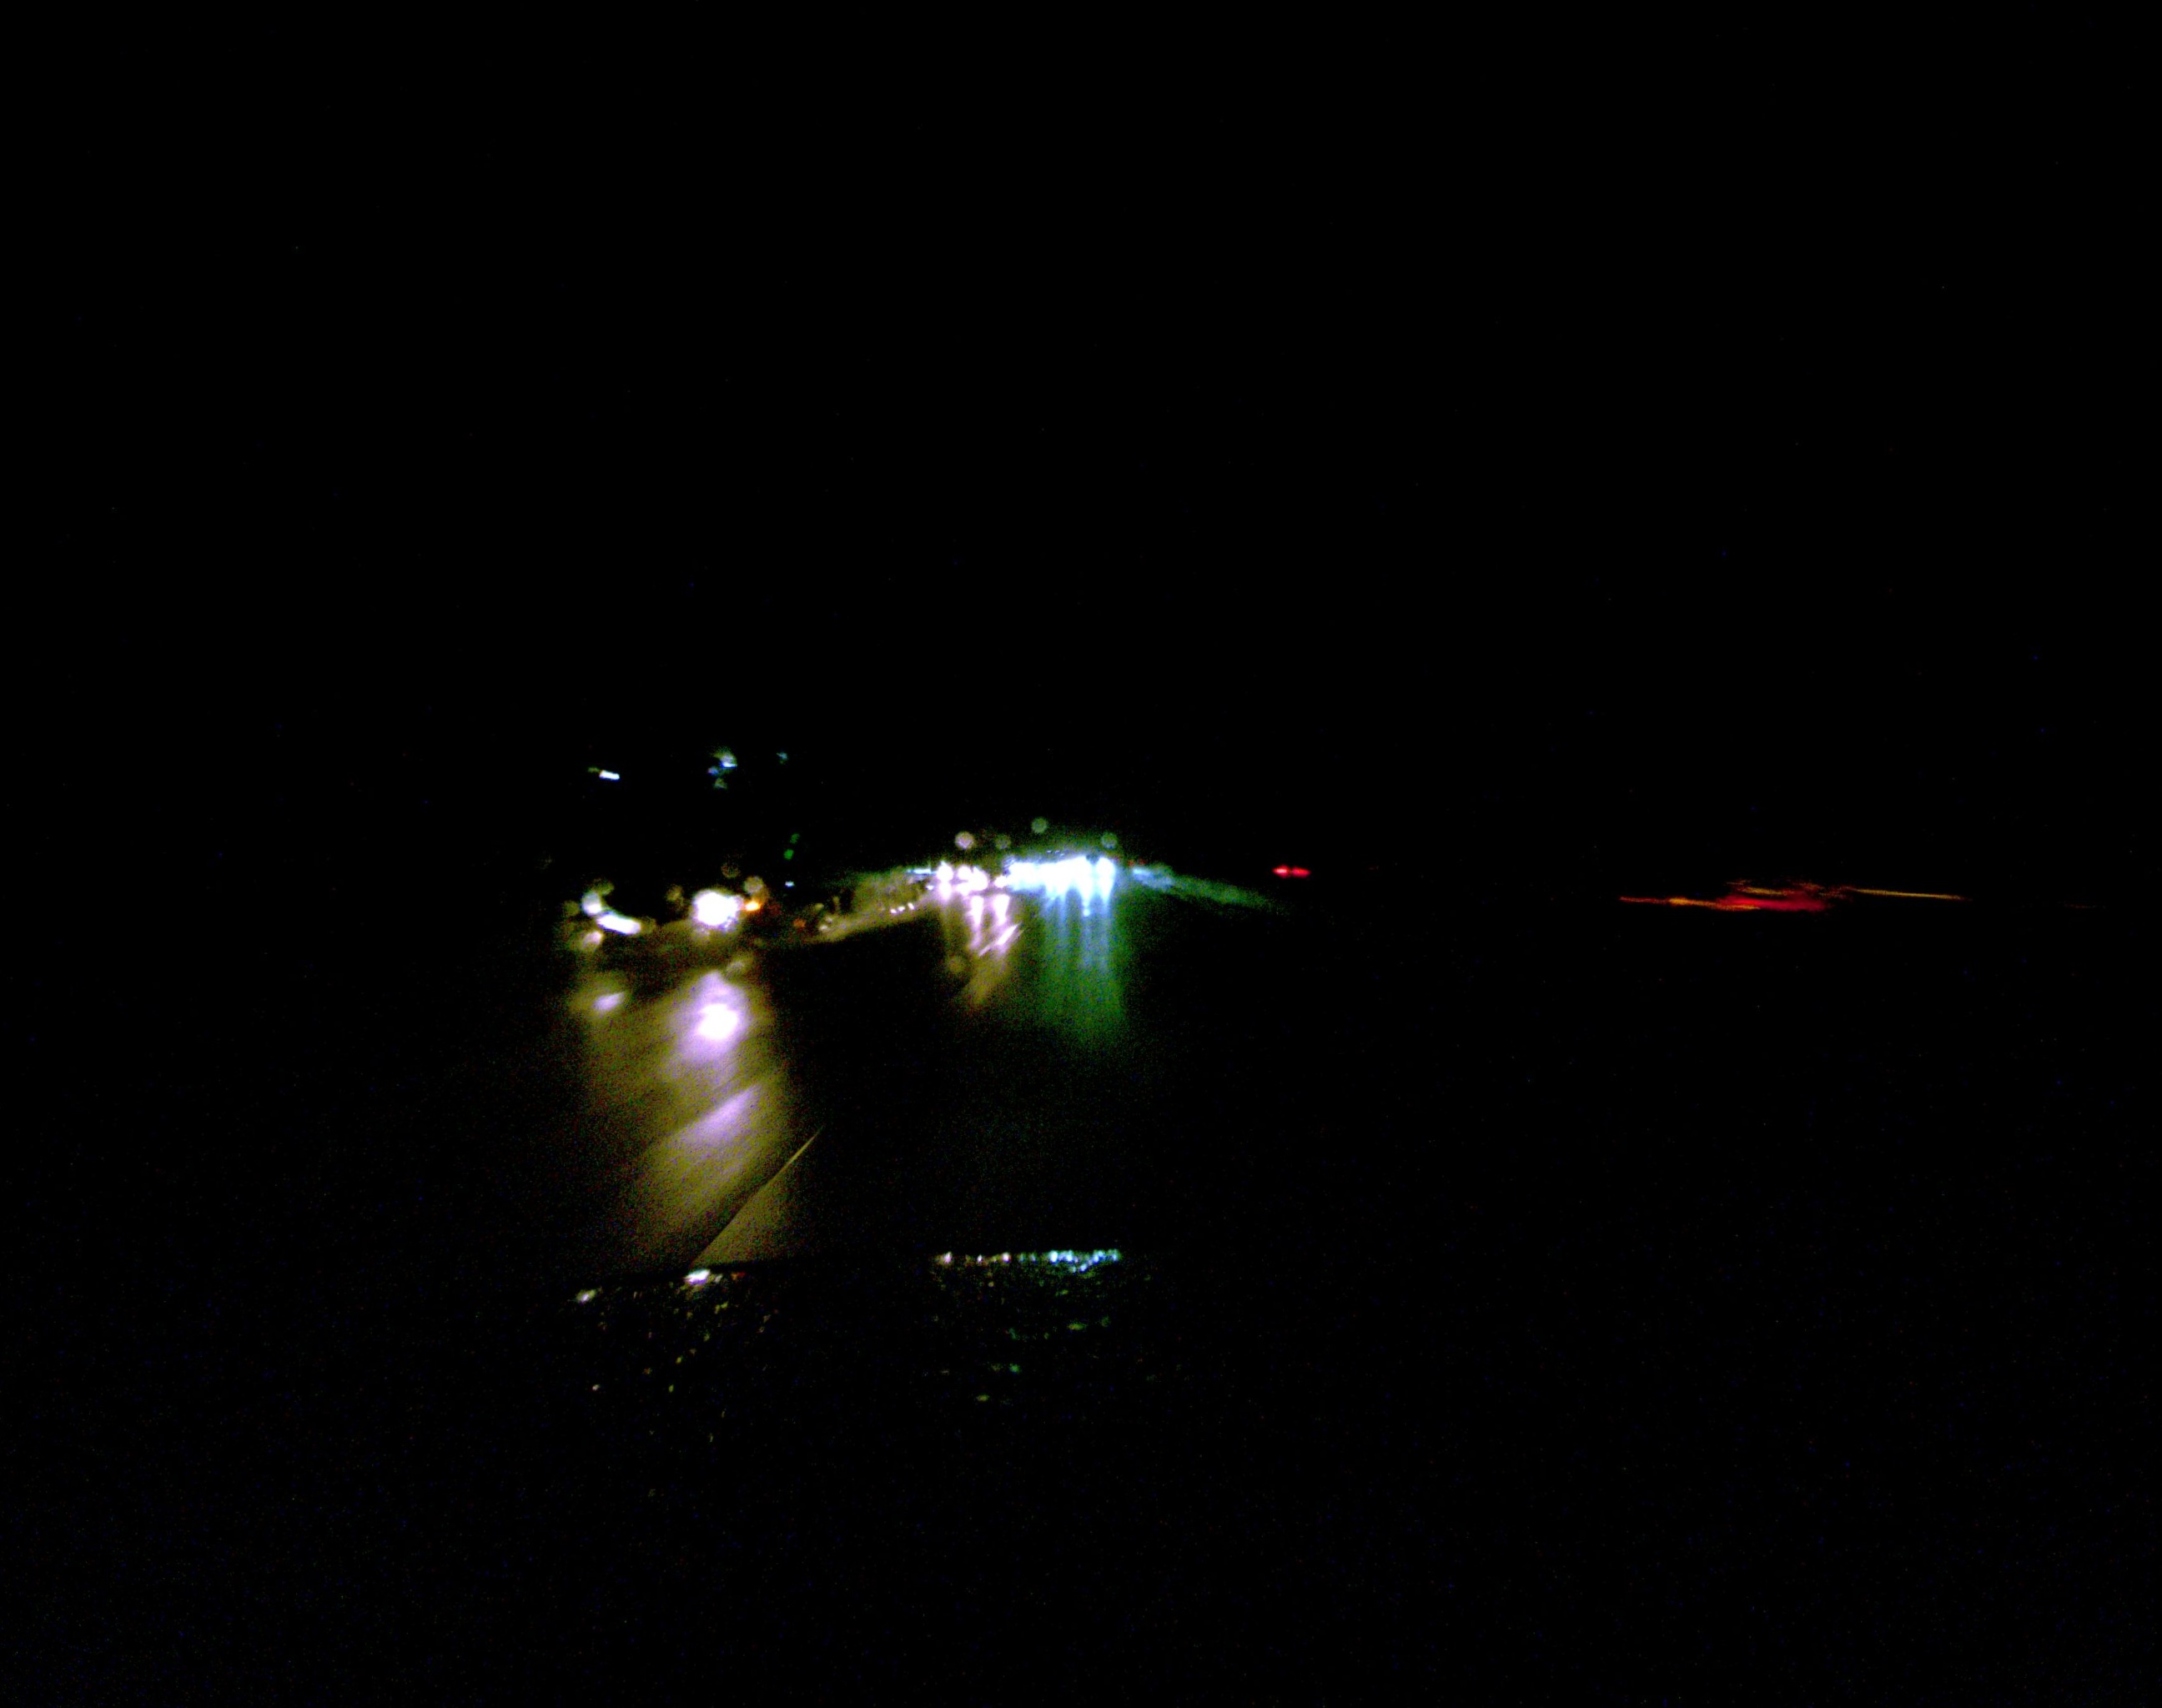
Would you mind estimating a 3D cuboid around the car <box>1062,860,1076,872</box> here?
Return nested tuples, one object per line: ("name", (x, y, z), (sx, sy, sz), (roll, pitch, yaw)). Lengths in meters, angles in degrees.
("car", (-1.660, 1.676, 106.379), (1.619, 1.494, 3.768), (-3, 0, 2))

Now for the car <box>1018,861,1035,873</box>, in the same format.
("car", (-6.974, 1.631, 97.689), (1.747, 1.470, 5.366), (-3, 0, 1))

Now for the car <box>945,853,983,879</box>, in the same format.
("car", (-9.465, 0.936, 61.918), (2.051, 1.962, 5.408), (1, 0, 2))

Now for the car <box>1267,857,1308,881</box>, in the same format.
("car", (14.476, 1.004, 53.429), (1.801, 1.565, 3.973), (-1, 0, 1))

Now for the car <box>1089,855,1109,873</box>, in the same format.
("car", (1.609, 0.867, 65.812), (1.619, 1.452, 3.768), (-3, 0, 2))

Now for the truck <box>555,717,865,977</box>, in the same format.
("truck", (-7.259, -0.113, 16.434), (2.810, 4.242, 7.448), (-2, 0, 1))

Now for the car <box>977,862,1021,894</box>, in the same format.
("car", (-4.094, 1.186, 38.448), (1.616, 1.404, 3.792), (-2, 0, 2))

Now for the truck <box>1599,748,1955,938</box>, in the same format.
("truck", (17.313, -0.219, 19.800), (2.928, 4.070, 6.994), (0, 0, 1))

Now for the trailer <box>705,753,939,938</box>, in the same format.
("trailer", (-7.120, -0.190, 23.595), (2.810, 4.187, 12.096), (-2, 0, 1))

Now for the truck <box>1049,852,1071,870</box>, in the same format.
("truck", (-2.072, 0.654, 75.729), (1.848, 1.686, 4.854), (-3, 0, 1))

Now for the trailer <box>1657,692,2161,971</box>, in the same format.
("trailer", (17.253, -0.318, 13.783), (2.974, 4.070, 14.222), (0, 0, 1))
